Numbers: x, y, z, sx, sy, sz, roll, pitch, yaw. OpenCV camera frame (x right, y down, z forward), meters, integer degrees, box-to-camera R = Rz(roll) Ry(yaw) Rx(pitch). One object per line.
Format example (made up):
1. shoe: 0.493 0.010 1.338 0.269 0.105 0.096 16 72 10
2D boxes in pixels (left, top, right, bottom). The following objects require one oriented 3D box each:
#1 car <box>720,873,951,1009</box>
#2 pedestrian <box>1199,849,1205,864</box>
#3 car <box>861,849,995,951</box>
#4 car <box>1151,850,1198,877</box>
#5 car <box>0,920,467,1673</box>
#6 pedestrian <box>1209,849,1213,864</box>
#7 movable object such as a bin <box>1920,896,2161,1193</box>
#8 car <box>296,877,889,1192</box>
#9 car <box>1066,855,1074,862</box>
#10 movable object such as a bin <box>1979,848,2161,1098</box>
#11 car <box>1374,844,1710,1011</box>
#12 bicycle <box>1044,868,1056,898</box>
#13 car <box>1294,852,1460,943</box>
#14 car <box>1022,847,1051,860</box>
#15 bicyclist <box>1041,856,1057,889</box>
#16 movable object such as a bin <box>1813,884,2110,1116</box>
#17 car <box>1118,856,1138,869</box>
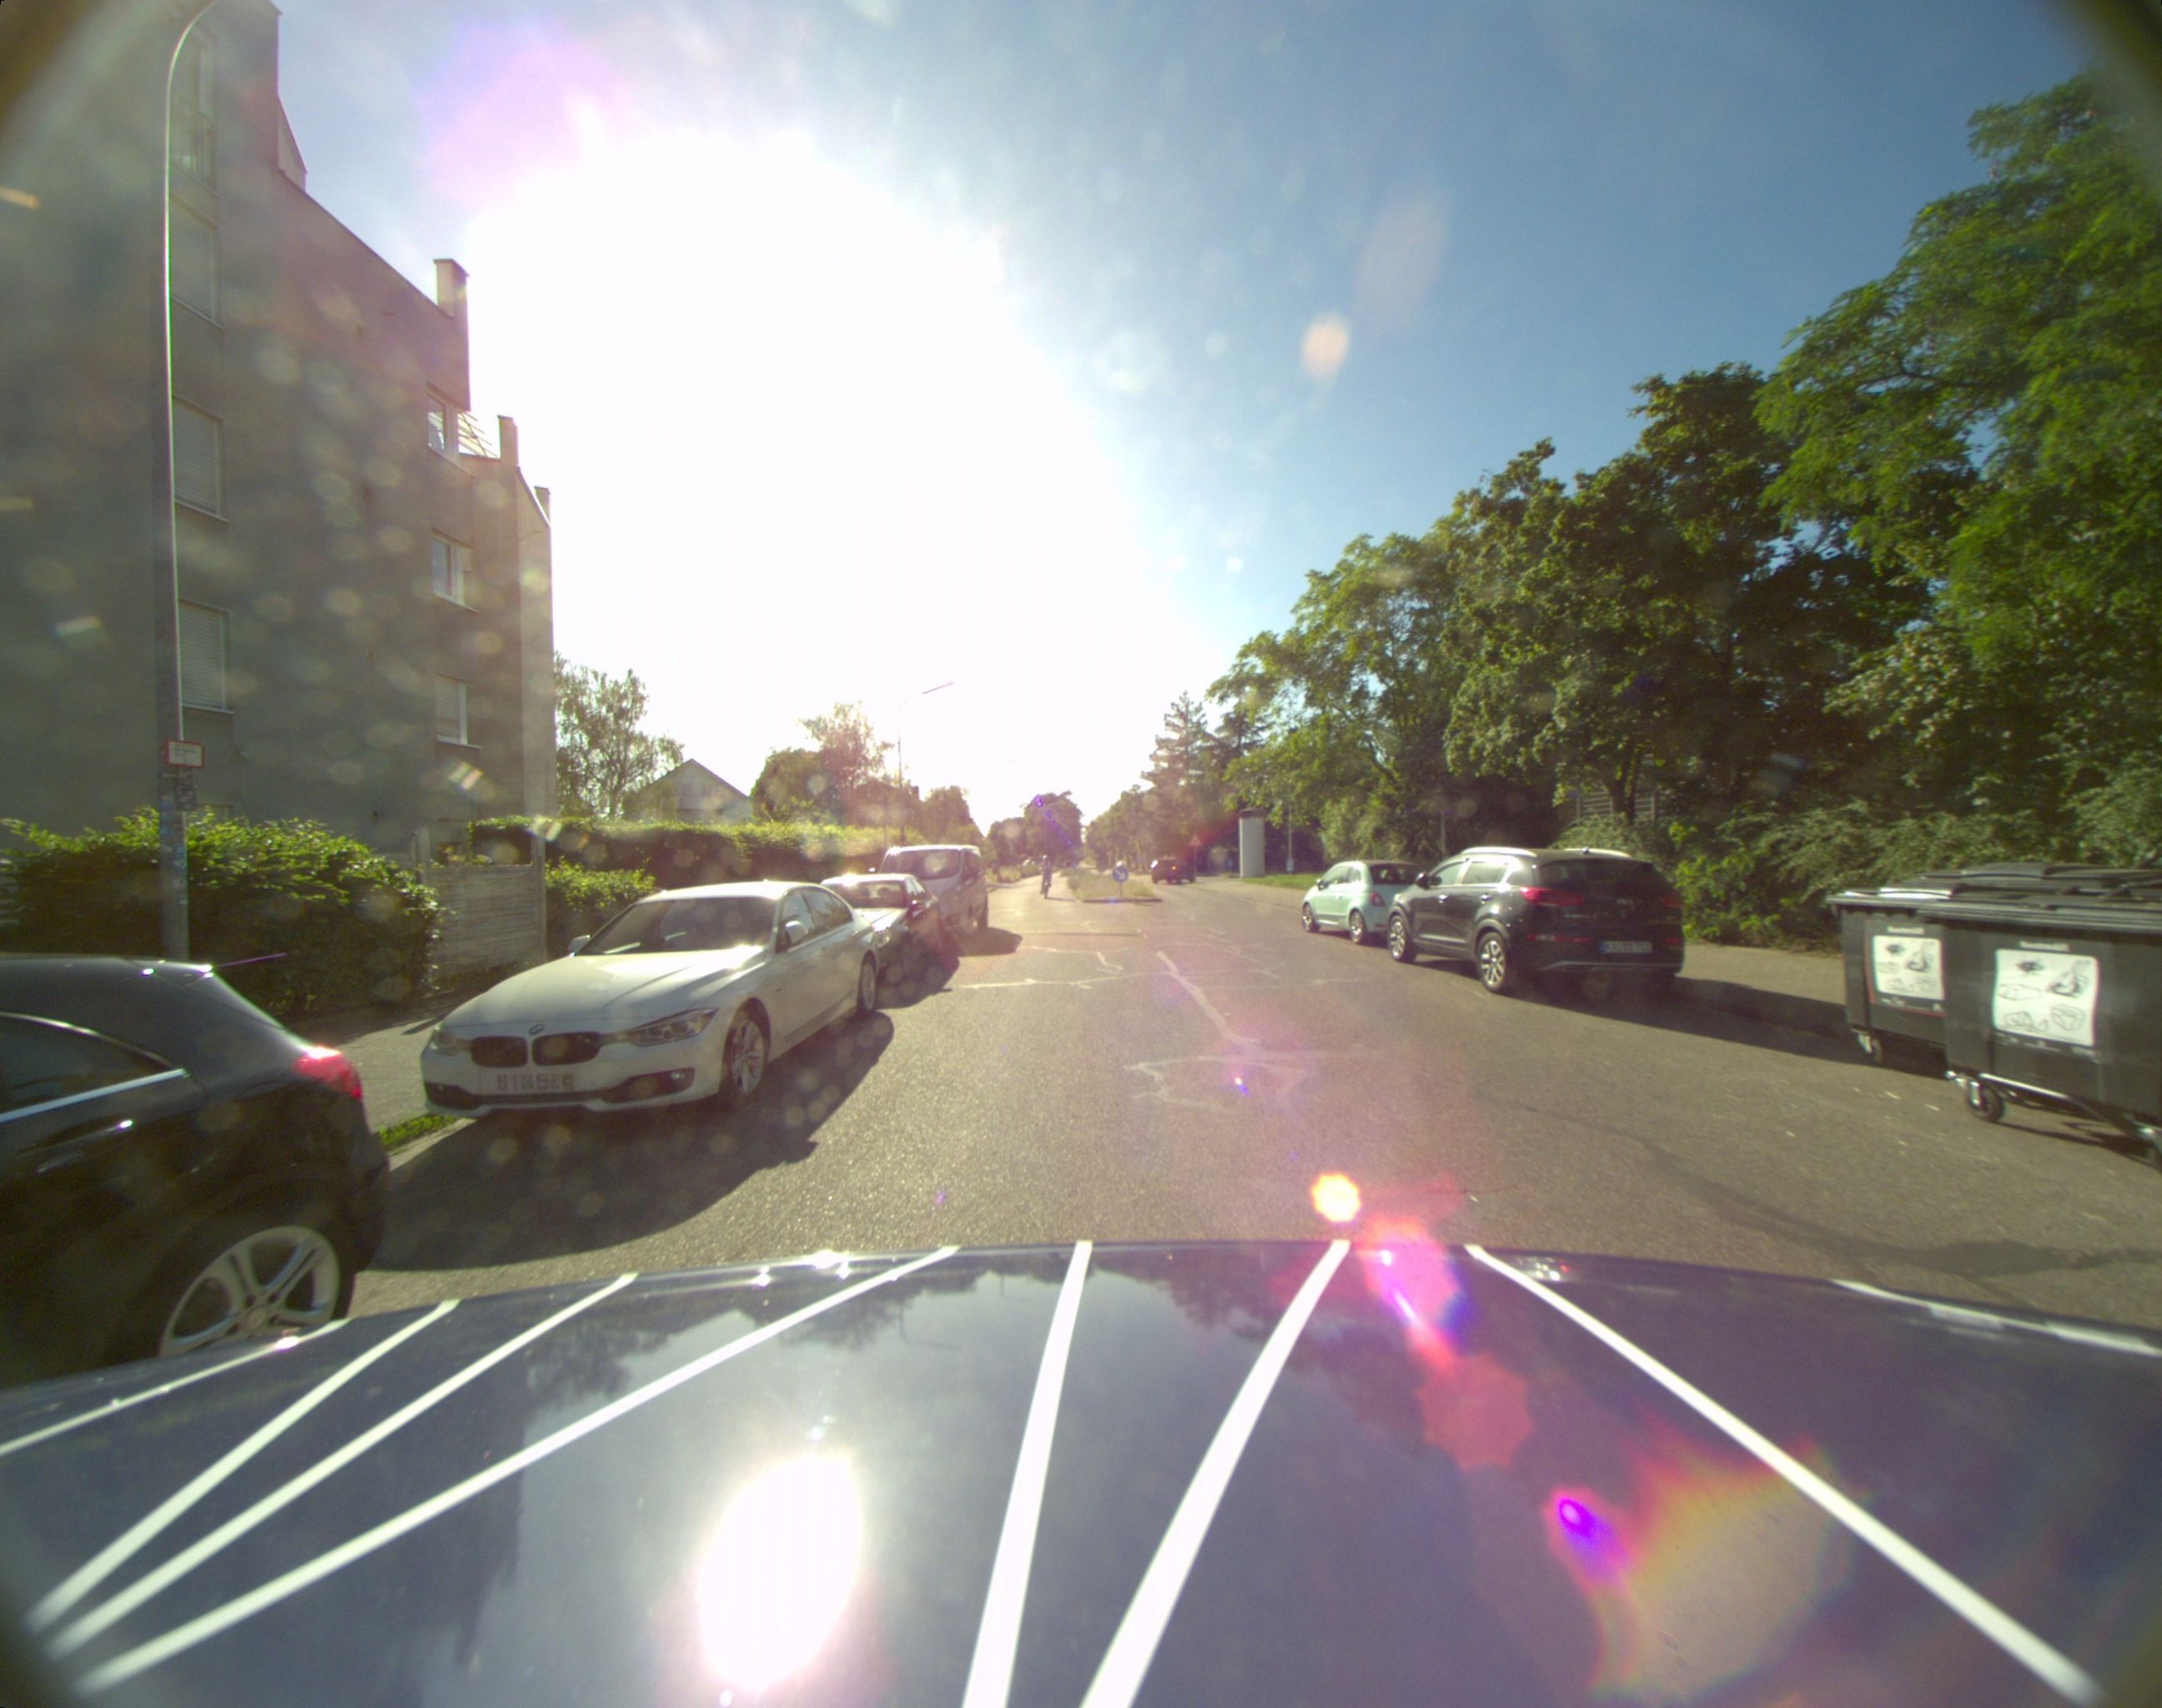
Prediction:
1. car: -3.309 1.085 11.424 1.999 1.409 4.922 -1 0 -2
2. pedestrian: 12.253 0.291 76.948 0.539 1.511 0.395 -1 1 -25
3. car: -3.177 0.854 16.893 1.999 1.901 4.952 -1 0 -1
4. car: 6.179 0.599 49.777 1.914 1.695 4.192 0 0 24
5. car: -3.269 1.012 0.614 1.914 1.480 4.375 -1 0 1
6. pedestrian: 13.128 0.254 76.655 0.396 1.552 0.538 0 2 2
7. movable object such as a bin: 5.424 0.905 3.912 0.805 1.308 1.322 -1 0 7
8. car: -3.126 1.019 6.187 1.914 1.480 4.375 -1 0 1
9. car: -2.984 1.246 199.768 1.999 1.805 3.999 -1 0 0
10. movable object such as a bin: 6.888 0.707 4.958 1.064 1.459 0.893 -2 1 -8
11. car: 5.333 0.721 9.574 1.679 1.629 4.250 0 0 1
12. bicycle: -1.288 1.185 31.370 0.458 1.138 1.897 0 0 -3
13. car: 5.528 0.738 14.660 1.631 1.518 3.418 -1 0 -5
14. car: -6.293 -0.042 107.830 3.657 1.707 1.744 -1 1 -37
15. bicyclist: -1.331 0.759 31.441 0.638 1.339 0.838 -1 1 -4
16. movable object such as a bin: 5.889 0.902 5.192 0.610 1.332 1.269 -1 1 4
17. car: 6.224 1.126 100.677 2.000 1.649 3.997 -1 0 -6
